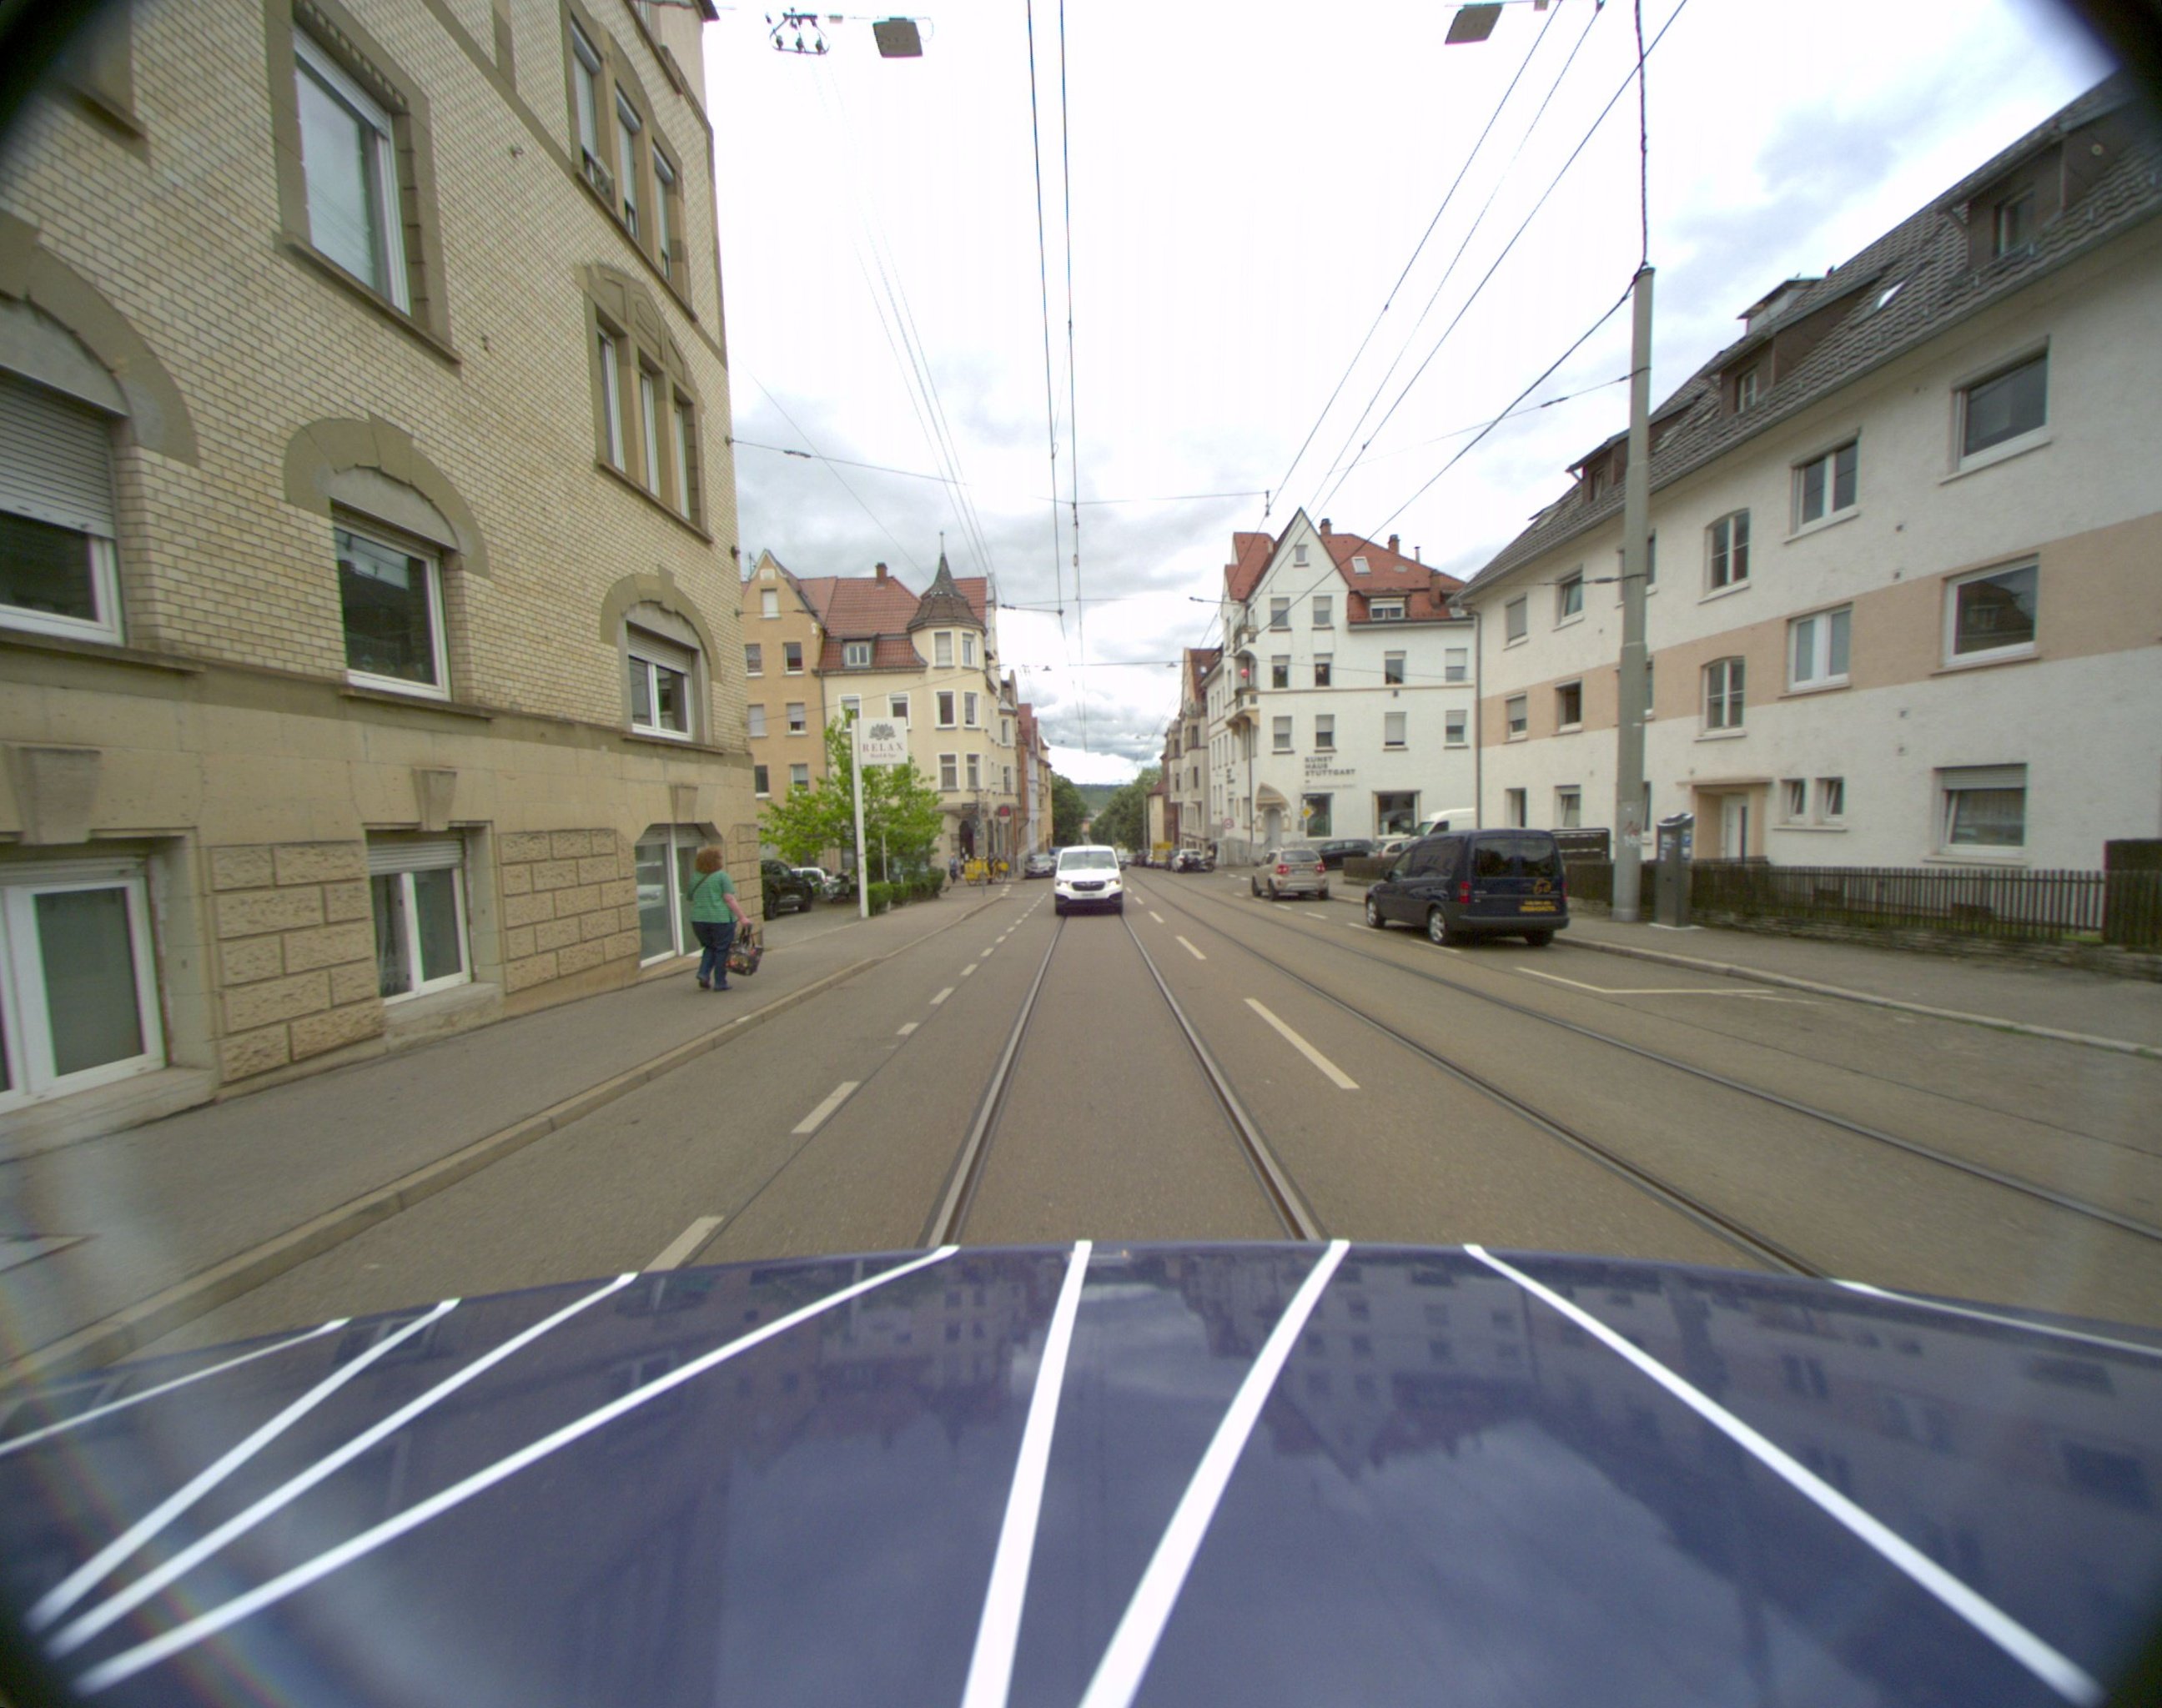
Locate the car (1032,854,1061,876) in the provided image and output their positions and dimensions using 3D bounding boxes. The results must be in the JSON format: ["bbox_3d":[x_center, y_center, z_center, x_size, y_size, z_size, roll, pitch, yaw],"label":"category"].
[{"bbox_3d":[-2.408,0.749,53.494,1.784,1.382,4.691,-4,0,-1],"label":"car"}]

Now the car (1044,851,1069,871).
[{"bbox_3d":[-1.875,0.528,59.304,1.754,1.382,4.307,-4,0,-1],"label":"car"}]

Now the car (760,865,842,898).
[{"bbox_3d":[-13.937,1.355,37.941,3.442,1.381,1.580,-3,1,-1],"label":"car"}]

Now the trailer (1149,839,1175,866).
[{"bbox_3d":[6.721,-0.127,63.256,1.753,2.143,4.071,0,0,1],"label":"trailer"}]

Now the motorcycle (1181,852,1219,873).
[{"bbox_3d":[6.830,0.485,43.523,2.111,1.127,0.767,-1,0,14],"label":"motorcycle"}]

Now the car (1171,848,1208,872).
[{"bbox_3d":[6.595,0.347,46.516,1.784,1.349,4.291,-2,0,2],"label":"car"}]

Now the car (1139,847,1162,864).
[{"bbox_3d":[6.619,0.148,73.049,1.878,1.654,4.892,0,0,1],"label":"car"}]

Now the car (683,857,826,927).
[{"bbox_3d":[-9.332,1.006,22.269,1.999,1.673,5.094,-3,0,-1],"label":"car"}]

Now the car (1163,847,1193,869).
[{"bbox_3d":[6.578,0.265,51.701,1.701,1.460,3.023,0,1,1],"label":"car"}]

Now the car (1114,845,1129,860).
[{"bbox_3d":[7.118,-0.293,133.980,2.164,2.591,6.218,1,0,-1],"label":"car"}]

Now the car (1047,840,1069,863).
[{"bbox_3d":[-2.422,-0.277,81.325,1.998,2.363,5.055,-2,1,0],"label":"car"}]

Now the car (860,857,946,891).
[{"bbox_3d":[-8.812,0.983,37.763,3.857,1.455,1.580,-3,1,-1],"label":"car"}]

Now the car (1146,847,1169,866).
[{"bbox_3d":[6.772,0.232,67.447,1.701,1.584,4.268,0,0,1],"label":"car"}]

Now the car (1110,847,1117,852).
[{"bbox_3d":[8.996,-1.240,209.450,1.856,1.532,3.948,-2,0,1],"label":"car"}]

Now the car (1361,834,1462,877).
[{"bbox_3d":[13.926,0.040,32.143,3.523,1.485,1.776,-3,6,1],"label":"car"}]

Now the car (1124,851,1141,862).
[{"bbox_3d":[7.207,0.382,106.206,1.832,1.420,4.627,2,0,-2],"label":"car"}]

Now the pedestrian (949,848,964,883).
[{"bbox_3d":[-6.450,0.603,39.440,0.483,1.757,0.493,-2,1,34],"label":"pedestrian"}]

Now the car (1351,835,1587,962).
[{"bbox_3d":[6.095,0.594,12.636,1.748,1.726,4.519,0,0,2],"label":"car"}]

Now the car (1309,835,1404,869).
[{"bbox_3d":[13.410,-0.103,37.170,3.997,1.455,1.754,-3,1,2],"label":"car"}]

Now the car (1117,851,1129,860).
[{"bbox_3d":[6.890,0.272,124.081,1.723,1.394,4.313,1,0,1],"label":"car"}]

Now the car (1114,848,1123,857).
[{"bbox_3d":[7.292,-0.325,148.604,1.766,1.765,4.668,1,1,2],"label":"car"}]

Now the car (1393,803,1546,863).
[{"bbox_3d":[18.841,-1.018,37.074,6.207,2.517,2.191,-3,1,2],"label":"car"}]

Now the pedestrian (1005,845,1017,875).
[{"bbox_3d":[-4.171,0.361,45.391,0.600,1.793,0.631,-2,1,0],"label":"pedestrian"}]

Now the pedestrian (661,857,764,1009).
[{"bbox_3d":[-4.232,0.880,8.780,0.873,1.676,0.663,0,1,-6],"label":"pedestrian"}]

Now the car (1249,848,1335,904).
[{"bbox_3d":[6.462,0.615,23.677,1.701,1.547,3.850,-2,0,2],"label":"car"}]

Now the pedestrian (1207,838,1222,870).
[{"bbox_3d":[8.304,-0.005,47.186,0.590,1.895,0.811,-7,1,0],"label":"pedestrian"}]

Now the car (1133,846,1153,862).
[{"bbox_3d":[6.676,0.006,81.798,1.832,1.708,4.913,0,0,1],"label":"car"}]

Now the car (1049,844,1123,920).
[{"bbox_3d":[0.203,0.673,21.027,1.759,1.824,4.448,-2,0,2],"label":"car"}]

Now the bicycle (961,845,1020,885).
[{"bbox_3d":[-4.539,0.555,38.195,1.179,1.855,2.734,-2,1,42],"label":"bicycle"}]

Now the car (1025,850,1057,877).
[{"bbox_3d":[-2.471,0.566,47.856,1.739,1.528,4.573,-4,0,-2],"label":"car"}]
